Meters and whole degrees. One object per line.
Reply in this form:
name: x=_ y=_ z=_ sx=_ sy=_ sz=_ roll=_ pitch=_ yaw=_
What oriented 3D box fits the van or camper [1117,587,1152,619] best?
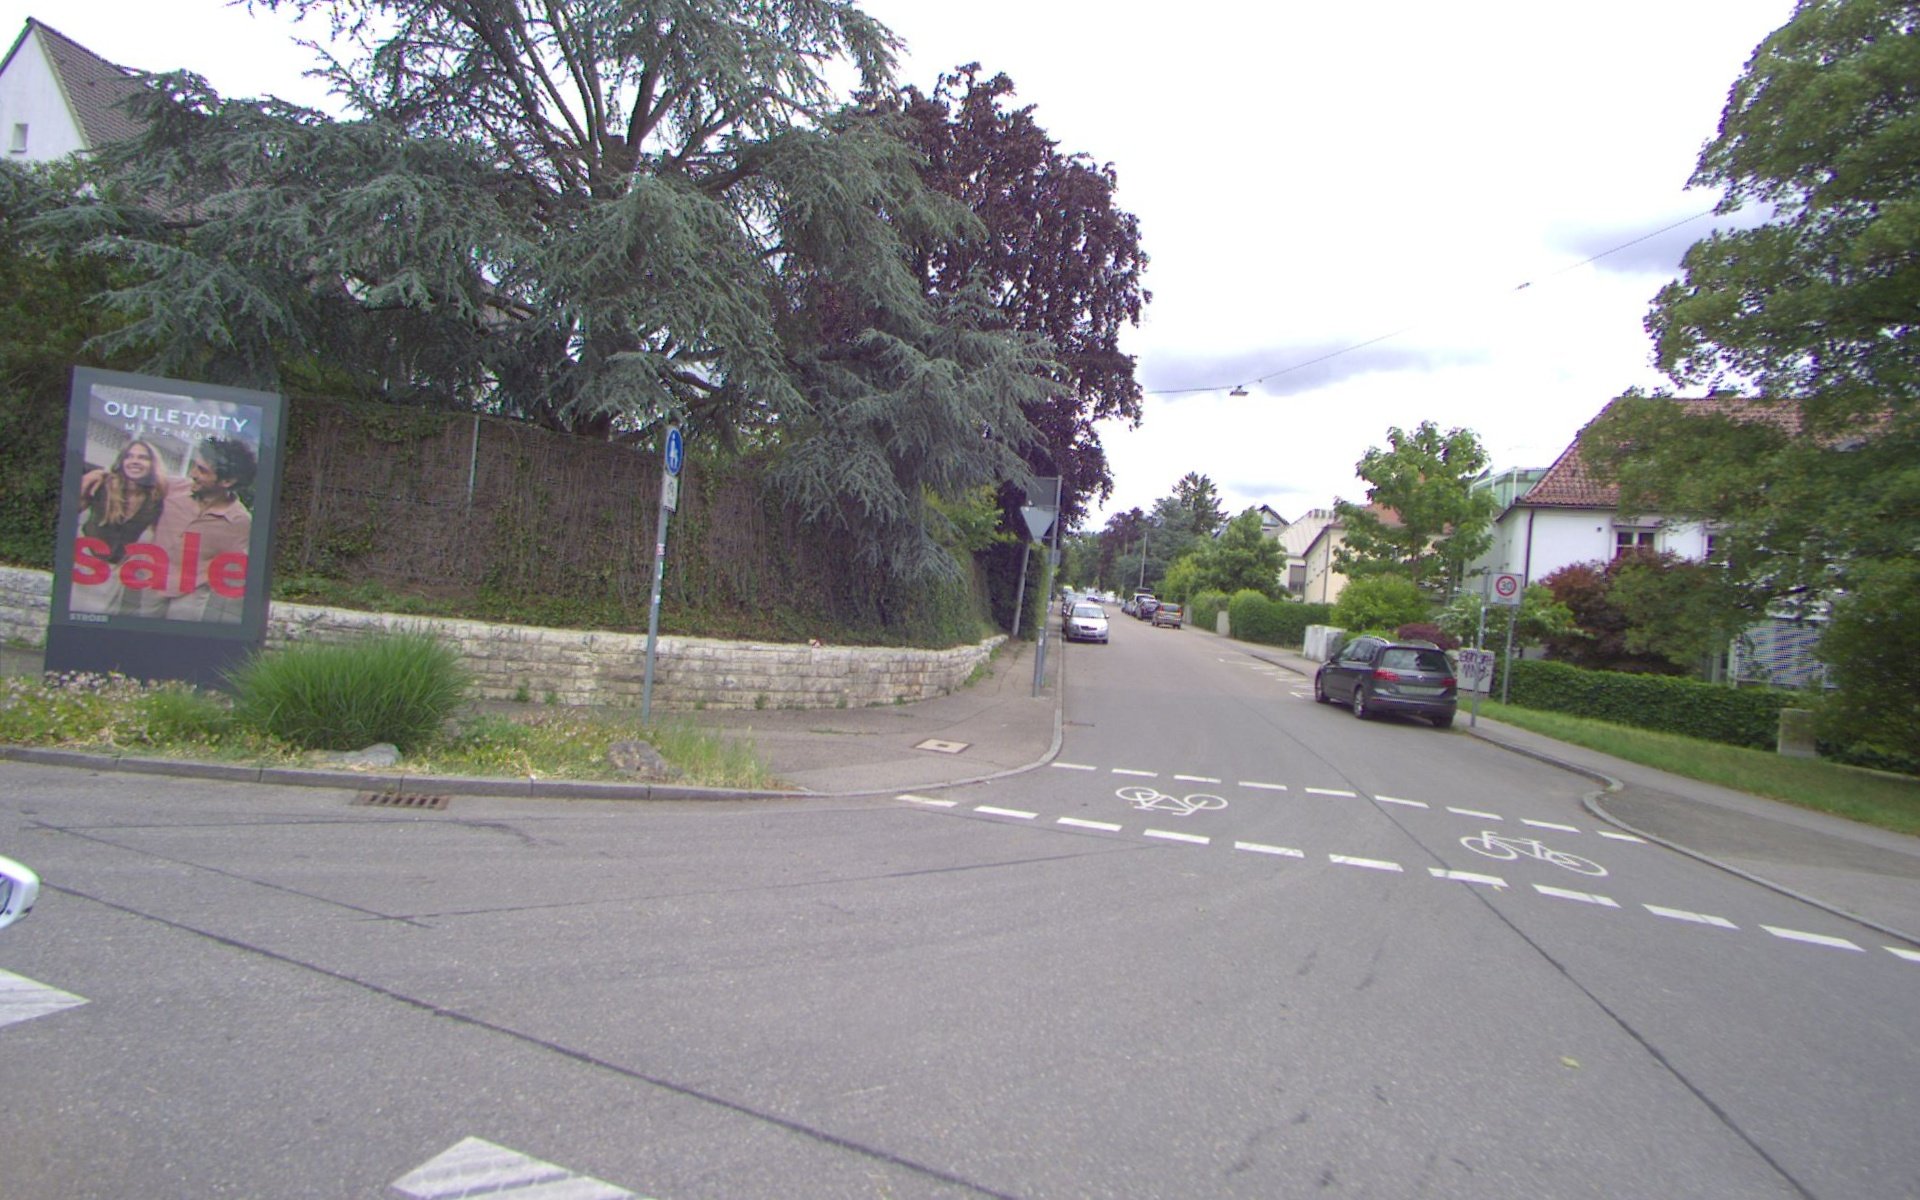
van or camper: x=14.771 y=0.238 z=85.373 sx=2.079 sy=2.435 sz=5.245 roll=6 pitch=0 yaw=3

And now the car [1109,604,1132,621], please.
car: x=15.235 y=1.178 z=95.667 sx=1.584 sy=1.431 sz=3.472 roll=8 pitch=1 yaw=2

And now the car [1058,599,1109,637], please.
car: x=5.569 y=0.776 z=45.882 sx=1.916 sy=1.460 sz=3.999 roll=6 pitch=1 yaw=3

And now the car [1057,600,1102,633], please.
car: x=6.034 y=0.807 z=51.352 sx=1.916 sy=1.460 sz=3.999 roll=6 pitch=1 yaw=3

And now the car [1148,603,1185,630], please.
car: x=13.007 y=1.036 z=63.625 sx=1.584 sy=1.431 sz=3.472 roll=8 pitch=1 yaw=2

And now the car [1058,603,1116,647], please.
car: x=5.083 y=0.961 z=40.760 sx=1.916 sy=1.460 sz=3.999 roll=6 pitch=1 yaw=3

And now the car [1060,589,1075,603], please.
car: x=13.685 y=-0.517 z=127.990 sx=1.688 sy=1.481 sz=3.656 roll=8 pitch=1 yaw=5

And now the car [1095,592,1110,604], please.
car: x=24.193 y=-0.317 z=170.806 sx=1.910 sy=1.818 sz=4.193 roll=8 pitch=1 yaw=1

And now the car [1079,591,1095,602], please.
car: x=17.569 y=-0.482 z=139.233 sx=1.630 sy=1.352 sz=3.780 roll=8 pitch=1 yaw=3

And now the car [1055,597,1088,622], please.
car: x=7.624 y=0.635 z=68.966 sx=1.916 sy=1.460 sz=3.999 roll=6 pitch=1 yaw=3

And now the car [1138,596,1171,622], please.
car: x=14.168 y=0.646 z=73.283 sx=1.719 sy=1.661 sz=3.727 roll=6 pitch=0 yaw=3

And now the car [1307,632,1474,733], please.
car: x=8.566 y=1.568 z=20.418 sx=1.788 sy=1.556 sz=4.000 roll=5 pitch=1 yaw=5
